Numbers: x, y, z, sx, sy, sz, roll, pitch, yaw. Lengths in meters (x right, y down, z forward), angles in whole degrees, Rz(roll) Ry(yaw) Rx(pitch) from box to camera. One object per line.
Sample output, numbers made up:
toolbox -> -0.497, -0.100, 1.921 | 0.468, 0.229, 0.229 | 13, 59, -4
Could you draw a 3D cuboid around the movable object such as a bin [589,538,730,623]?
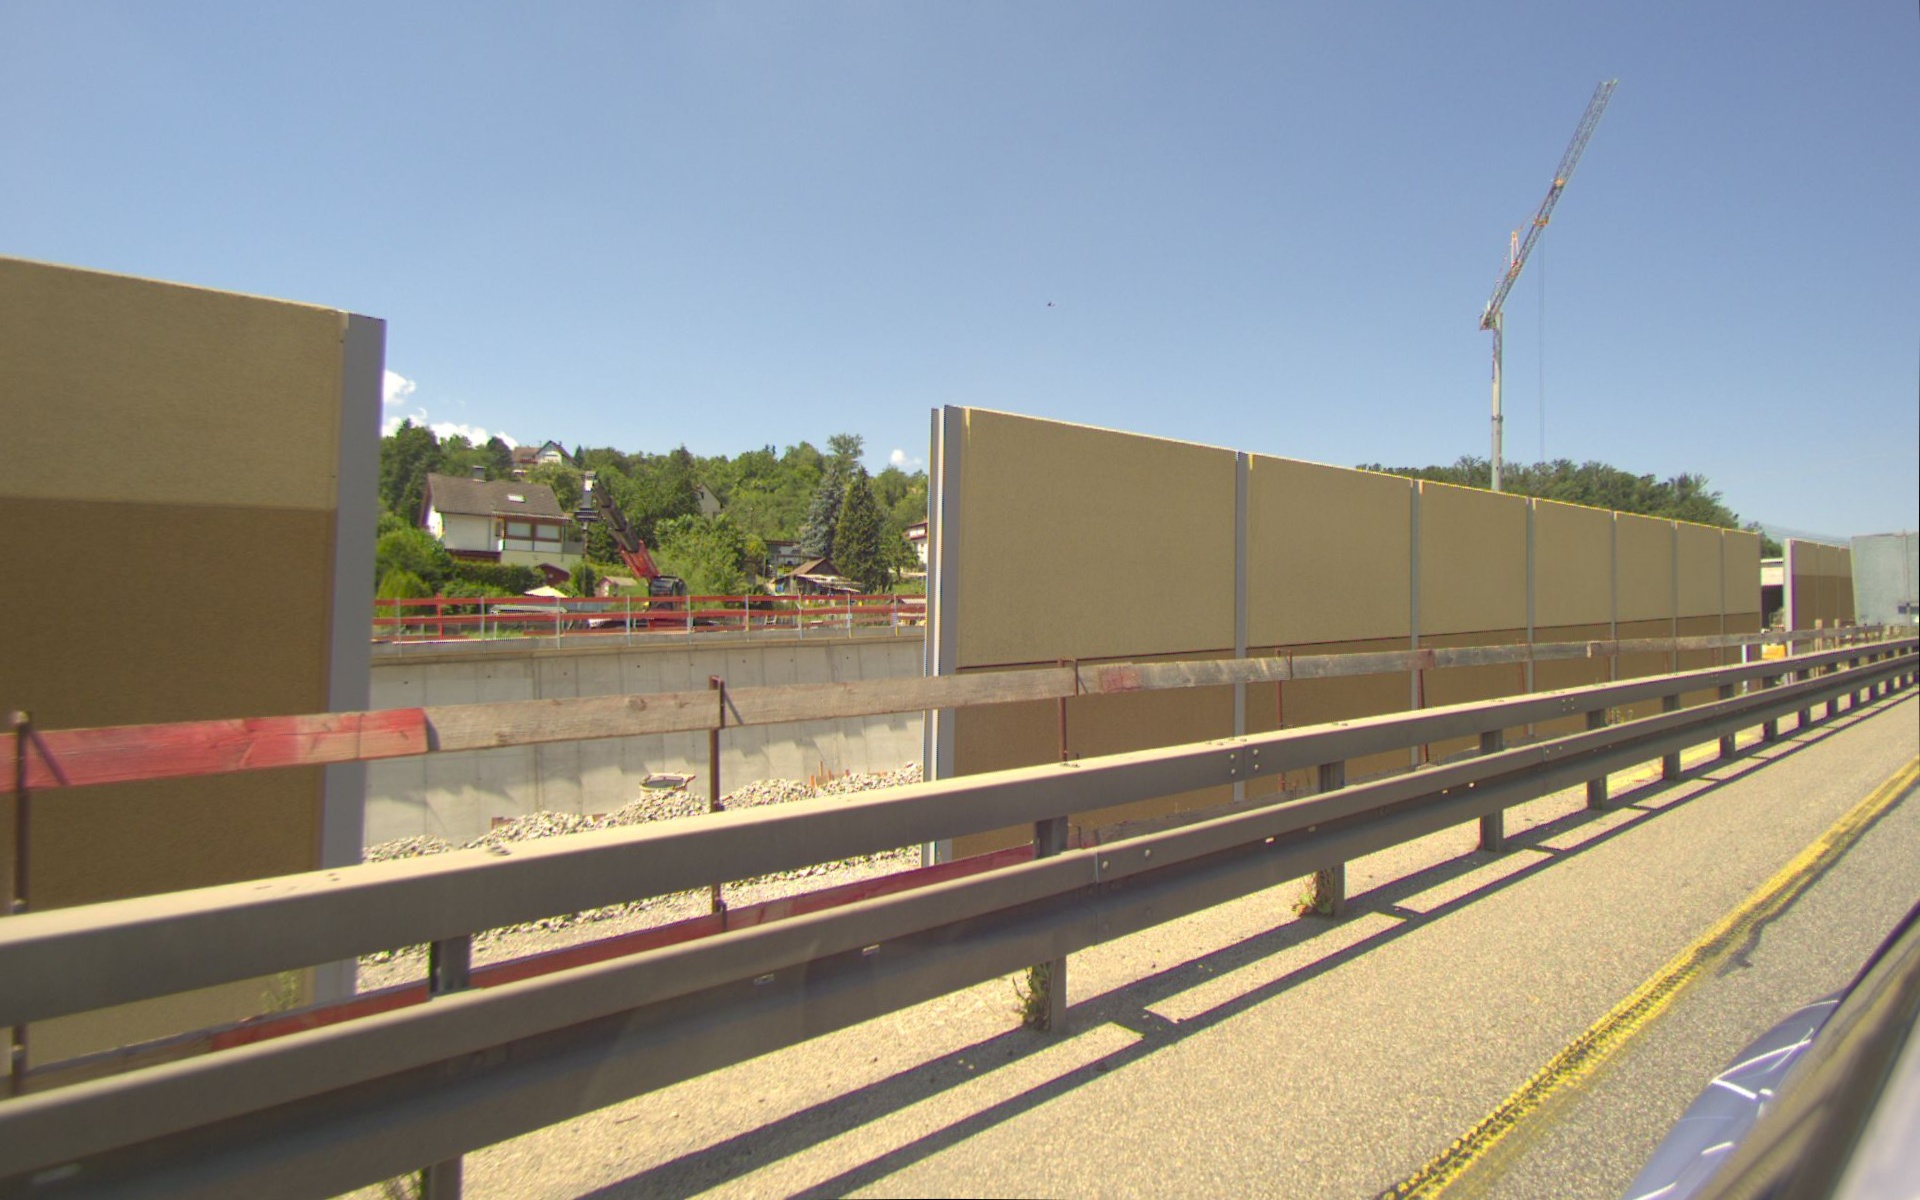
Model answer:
movable object such as a bin -> -11.728, -0.727, 39.655 | 4.831, 3.122, 2.201 | 0, 0, -41
